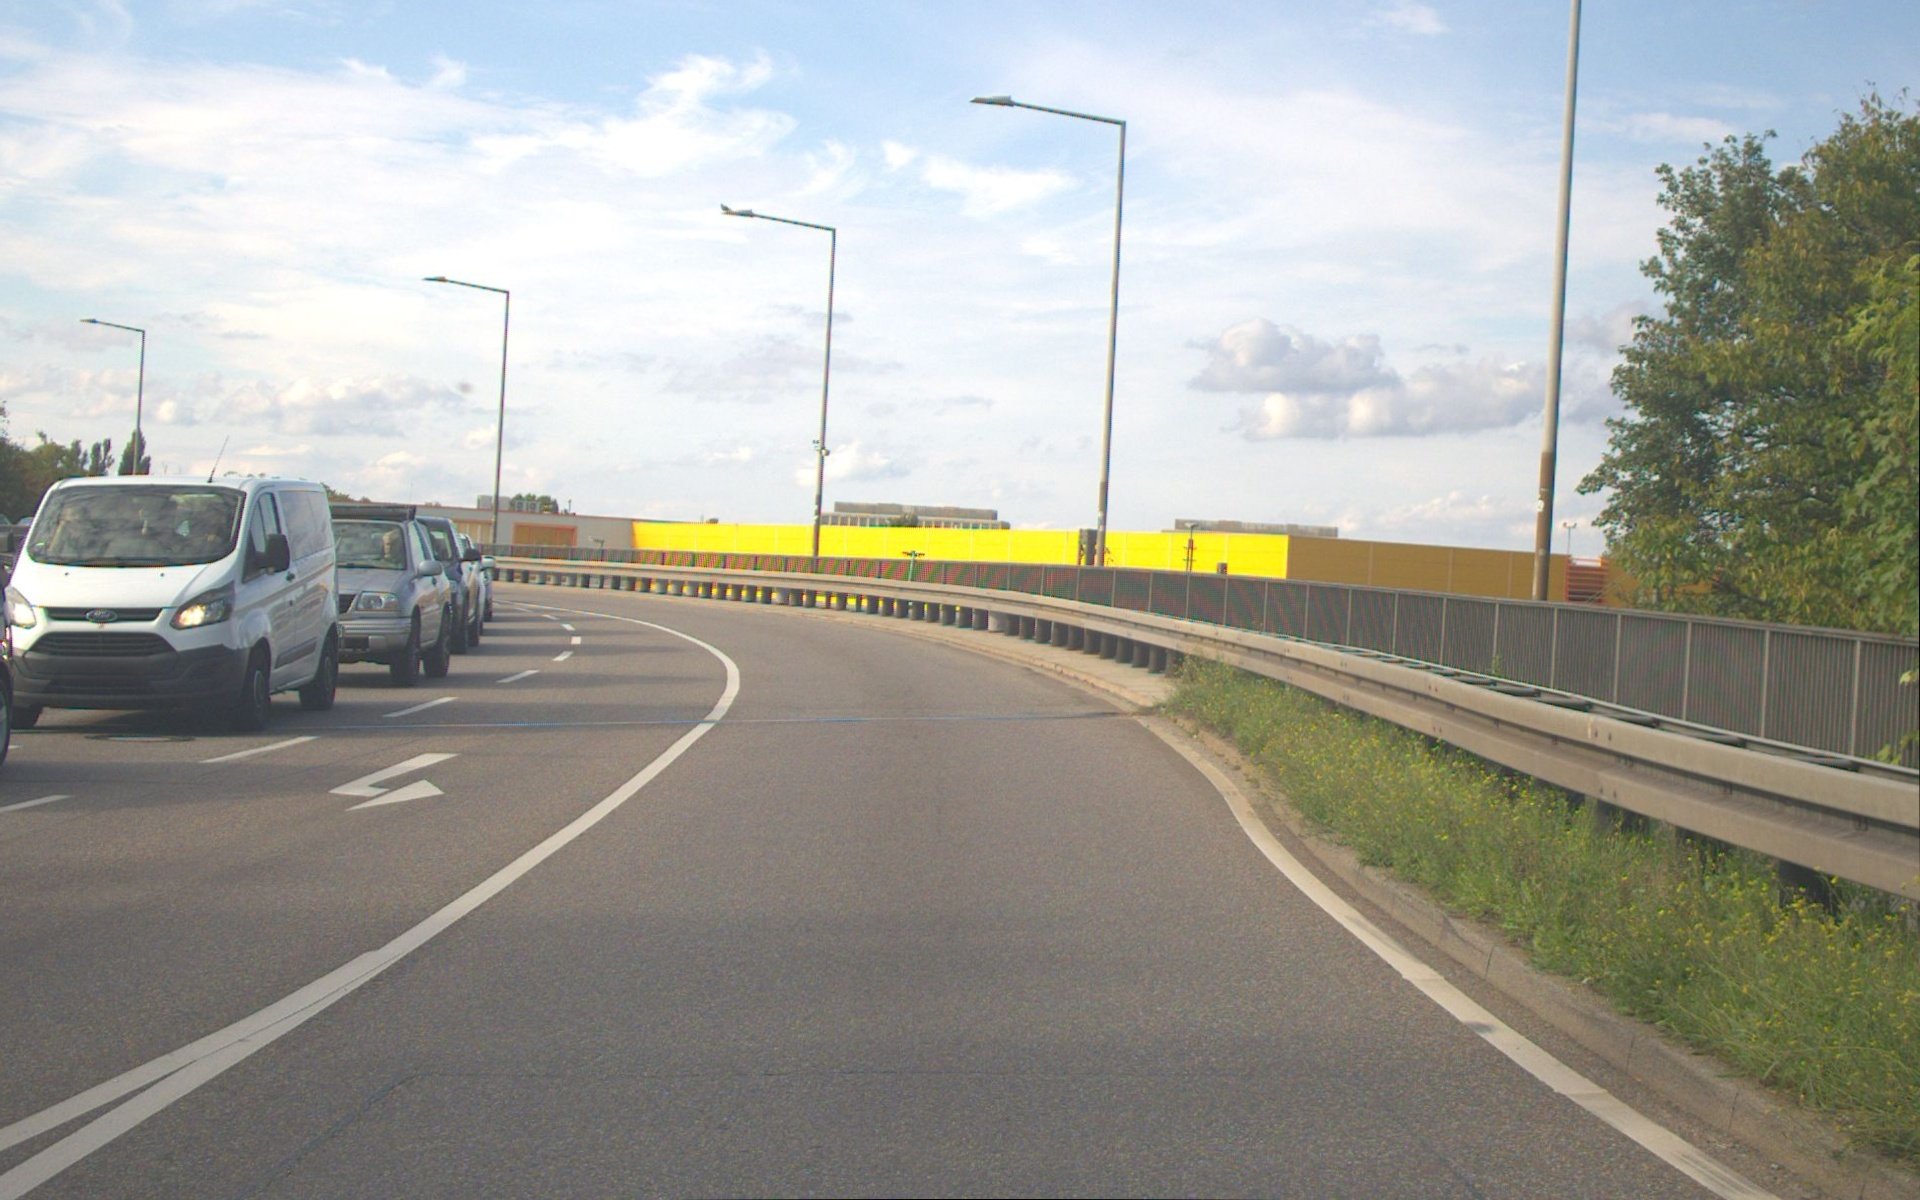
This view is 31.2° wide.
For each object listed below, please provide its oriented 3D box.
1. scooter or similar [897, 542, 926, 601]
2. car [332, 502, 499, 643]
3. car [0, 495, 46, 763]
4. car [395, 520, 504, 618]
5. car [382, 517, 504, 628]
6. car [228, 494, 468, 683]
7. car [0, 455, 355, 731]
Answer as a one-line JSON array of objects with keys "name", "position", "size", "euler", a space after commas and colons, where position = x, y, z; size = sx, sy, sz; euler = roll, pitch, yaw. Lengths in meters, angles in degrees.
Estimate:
[{"name": "scooter or similar", "position": [-0.976, -0.582, 68.833], "size": [0.265, 1.158, 1.189], "euler": [1, 1, -15]}, {"name": "car", "position": [-6.788, -0.384, 43.218], "size": [1.869, 1.660, 4.631], "euler": [1, 1, -7]}, {"name": "car", "position": [-6.803, 0.178, 19.811], "size": [1.746, 1.649, 4.453], "euler": [1, 1, 2]}, {"name": "car", "position": [-8.549, -0.545, 57.344], "size": [1.682, 1.540, 3.924], "euler": [1, 1, -10]}, {"name": "car", "position": [-7.637, -0.438, 50.576], "size": [1.682, 1.540, 3.924], "euler": [1, 1, -10]}, {"name": "car", "position": [-5.992, -0.153, 34.052], "size": [1.773, 1.740, 3.838], "euler": [1, 1, -2]}, {"name": "car", "position": [-6.190, -0.115, 27.226], "size": [1.985, 1.957, 5.048], "euler": [1, 1, -1]}]
